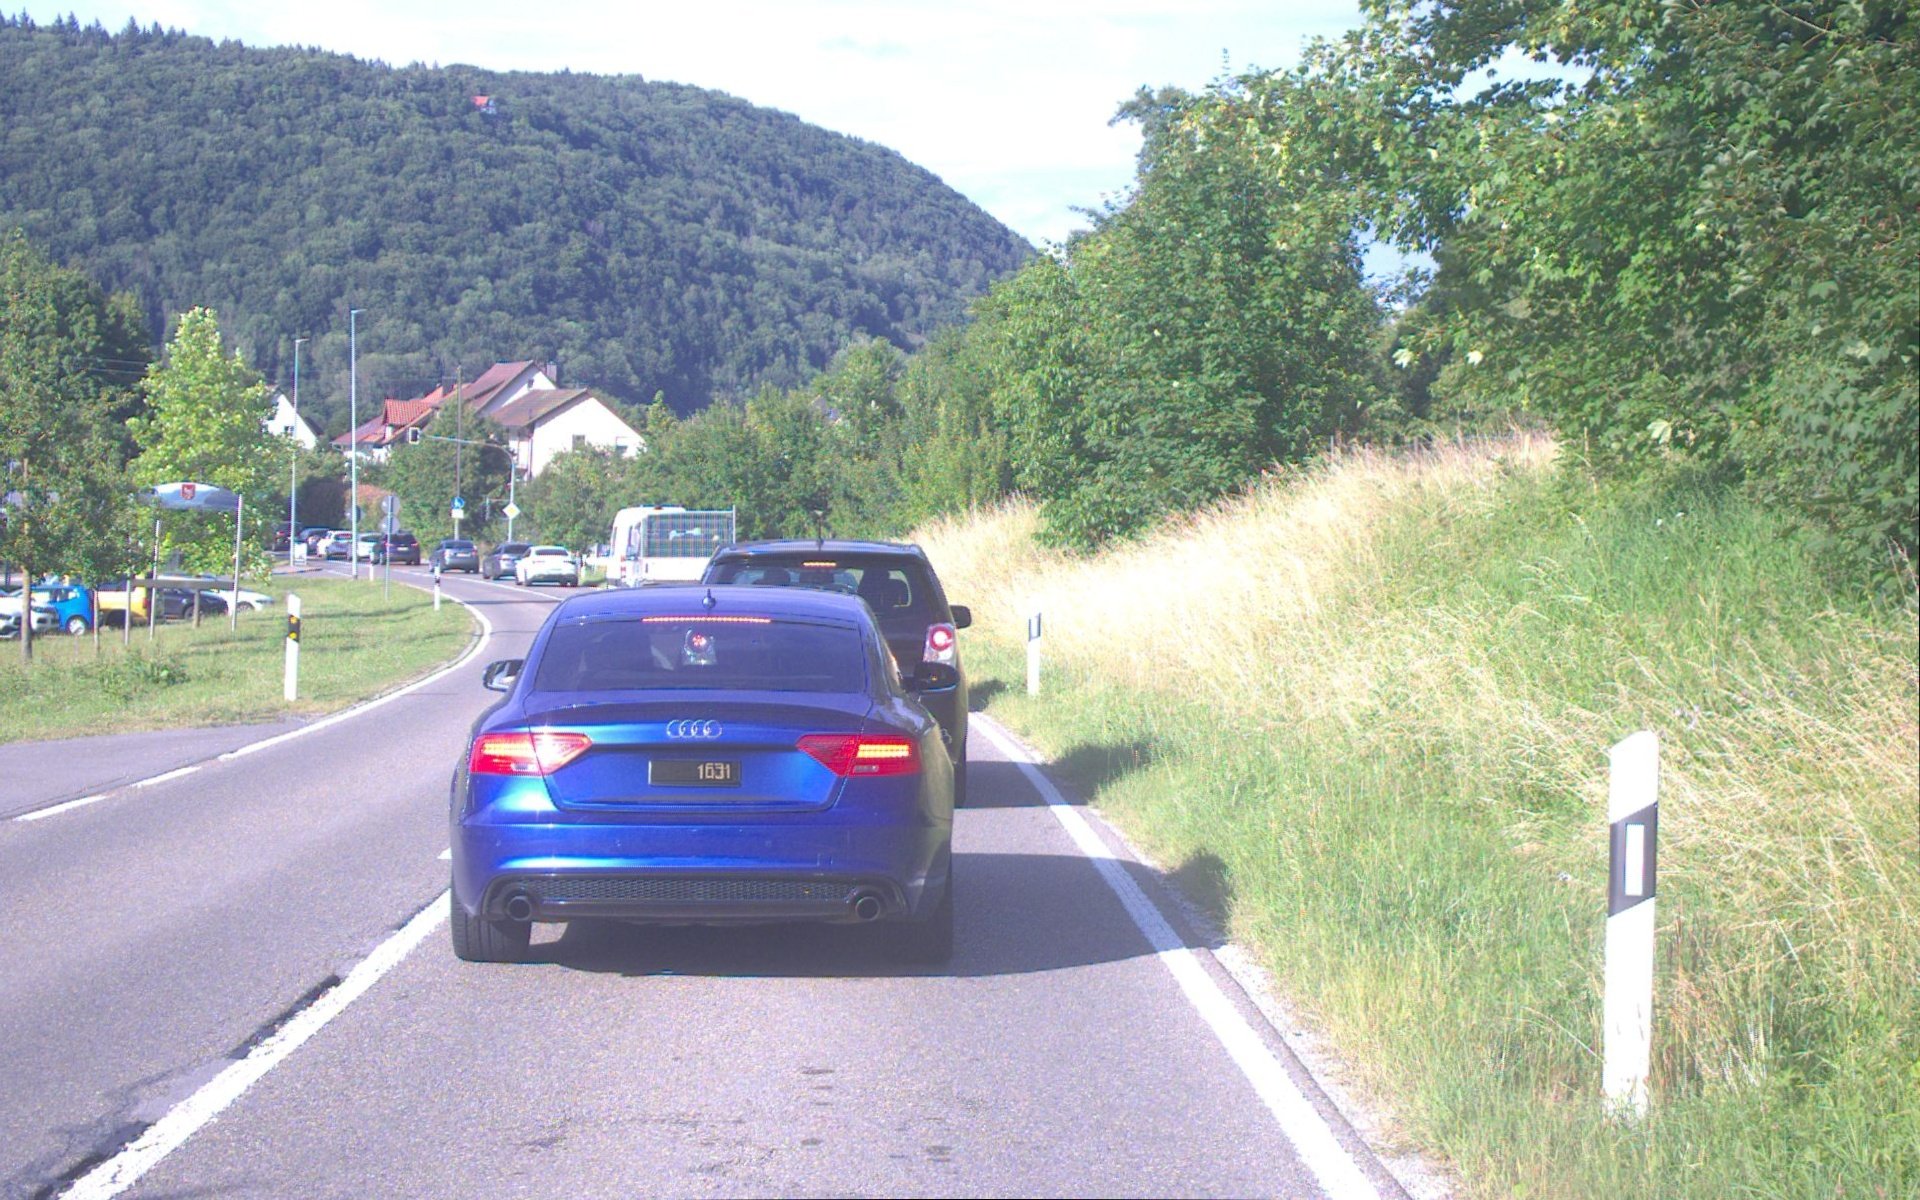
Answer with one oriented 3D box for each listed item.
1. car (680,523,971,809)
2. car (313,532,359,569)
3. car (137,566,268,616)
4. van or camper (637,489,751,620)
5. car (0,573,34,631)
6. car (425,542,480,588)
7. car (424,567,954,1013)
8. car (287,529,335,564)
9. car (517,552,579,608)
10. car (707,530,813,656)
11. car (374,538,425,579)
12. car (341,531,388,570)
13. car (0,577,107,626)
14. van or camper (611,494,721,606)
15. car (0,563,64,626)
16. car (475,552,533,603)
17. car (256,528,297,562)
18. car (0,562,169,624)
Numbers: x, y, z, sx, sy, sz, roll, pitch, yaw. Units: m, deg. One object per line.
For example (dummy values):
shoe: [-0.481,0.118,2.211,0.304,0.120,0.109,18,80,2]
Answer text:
car: [-0.889,0.361,21.694,1.645,1.619,3.517,1,1,-4]
car: [-33.215,-2.611,182.948,1.676,1.918,4.001,-1,1,-21]
car: [-25.835,-0.325,117.273,4.036,1.655,1.655,-1,1,4]
van or camper: [-5.397,-0.915,69.144,2.051,2.497,5.812,-1,1,-7]
car: [-26.662,0.056,91.292,3.666,1.488,1.597,0,2,4]
car: [-21.974,-1.518,148.789,1.659,1.918,4.001,-1,1,-19]
car: [-0.928,0.620,13.289,1.742,1.445,3.517,1,1,-1]
car: [-36.040,-2.947,190.827,1.954,1.918,4.001,-1,1,-21]
car: [-14.501,-0.712,120.839,1.659,1.918,4.001,-1,1,-14]
car: [-3.352,-0.141,57.090,1.567,2.007,4.001,-1,1,-6]
car: [-27.072,-1.995,165.877,1.676,1.918,4.001,-1,1,-20]
car: [-30.334,-2.515,174.986,1.676,1.918,4.001,-1,1,-20]
car: [-26.847,0.042,100.631,3.368,1.369,1.660,-1,1,-4]
van or camper: [-7.447,-1.254,86.530,2.280,2.704,5.769,-1,1,-9]
car: [-26.934,-0.155,94.577,4.077,1.667,1.597,0,2,4]
car: [-17.579,-0.879,132.495,1.659,1.918,4.001,-1,1,-16]
car: [-39.402,-3.139,198.161,1.676,1.918,4.001,-1,1,-21]
car: [-26.253,-0.217,103.116,4.553,1.808,1.841,-1,1,4]
